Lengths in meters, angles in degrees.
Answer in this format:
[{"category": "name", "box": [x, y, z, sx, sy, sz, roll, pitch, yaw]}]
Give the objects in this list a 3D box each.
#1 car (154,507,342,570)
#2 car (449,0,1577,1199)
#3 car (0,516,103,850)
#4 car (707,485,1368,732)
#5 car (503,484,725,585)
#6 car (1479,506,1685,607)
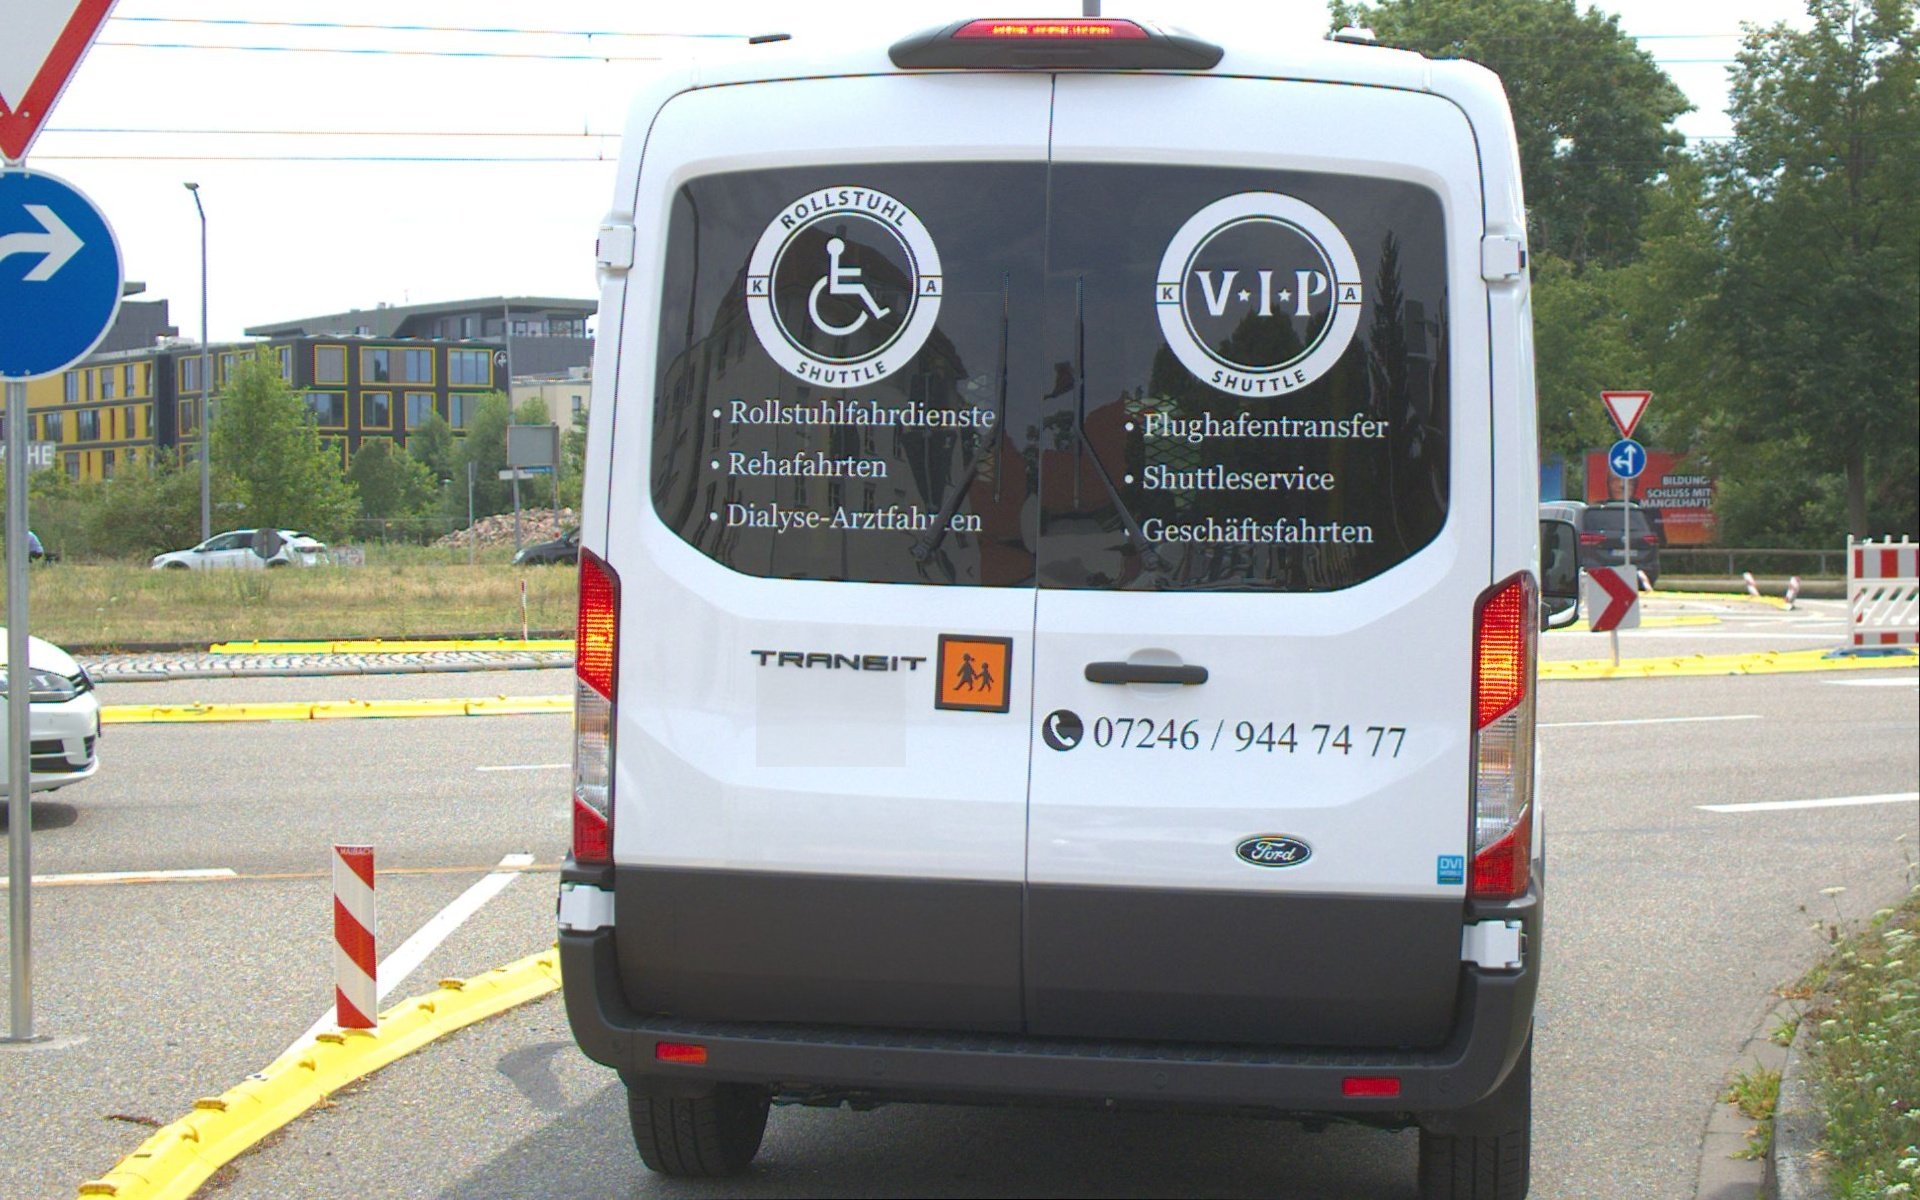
[{"category": "car", "box": [-17.016, -1.463, 82.258, 3.989, 1.458, 1.832, 1, 0, 11]}, {"category": "car", "box": [0.464, -0.019, 9.259, 2.127, 2.688, 5.630, 0, 1, 8]}, {"category": "car", "box": [-6.149, 0.374, 15.818, 4.245, 1.492, 1.802, -1, 1, -15]}, {"category": "car", "box": [0.558, -0.005, 22.755, 4.104, 1.492, 1.801, -1, 2, -35]}, {"category": "car", "box": [-7.017, -1.320, 69.796, 3.991, 2.007, 1.998, 1, 0, 19]}, {"category": "car", "box": [11.120, -0.759, 61.718, 1.993, 1.744, 4.001, 0, 0, -17]}]
